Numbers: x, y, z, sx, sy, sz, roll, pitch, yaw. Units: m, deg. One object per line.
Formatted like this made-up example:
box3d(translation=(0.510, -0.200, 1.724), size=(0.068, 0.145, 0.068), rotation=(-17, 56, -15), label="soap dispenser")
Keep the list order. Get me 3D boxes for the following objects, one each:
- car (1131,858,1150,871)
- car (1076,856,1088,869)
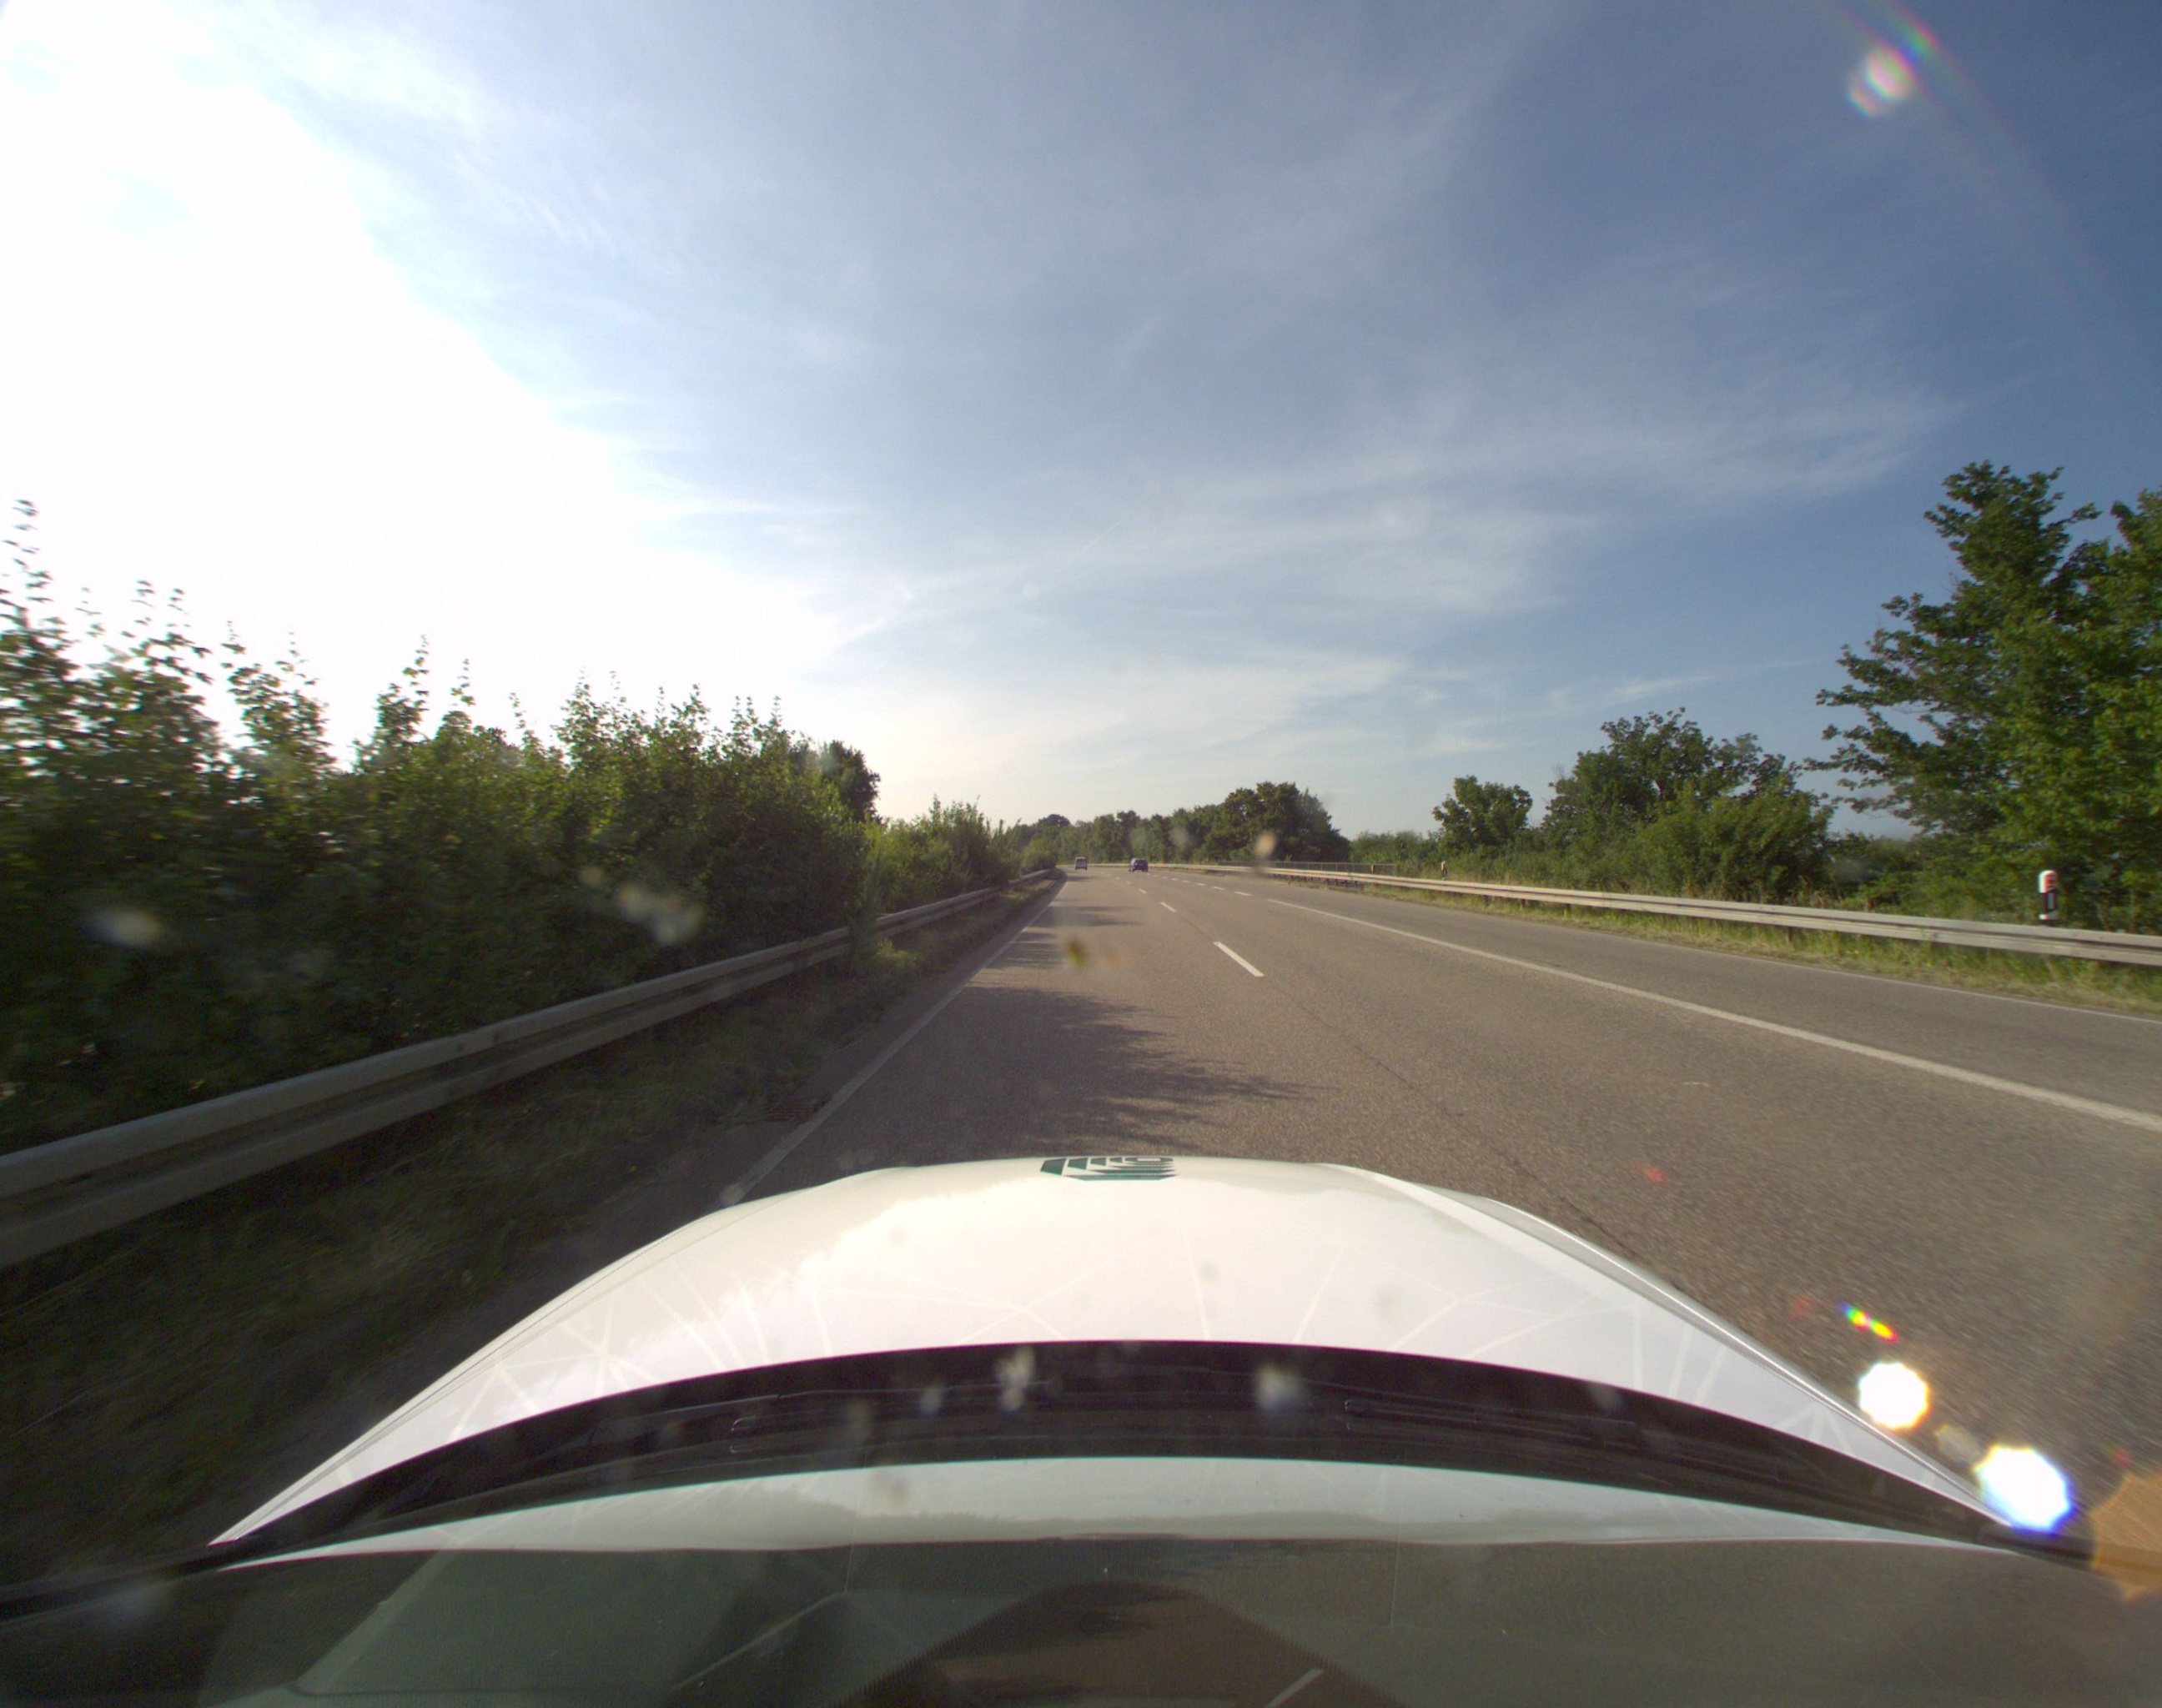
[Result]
box3d(translation=(6.490, 1.183, 89.376), size=(1.773, 1.452, 3.998), rotation=(-1, -1, -1), label="car")
box3d(translation=(0.134, 1.240, 116.446), size=(1.760, 1.882, 3.998), rotation=(-1, -1, -1), label="car")
